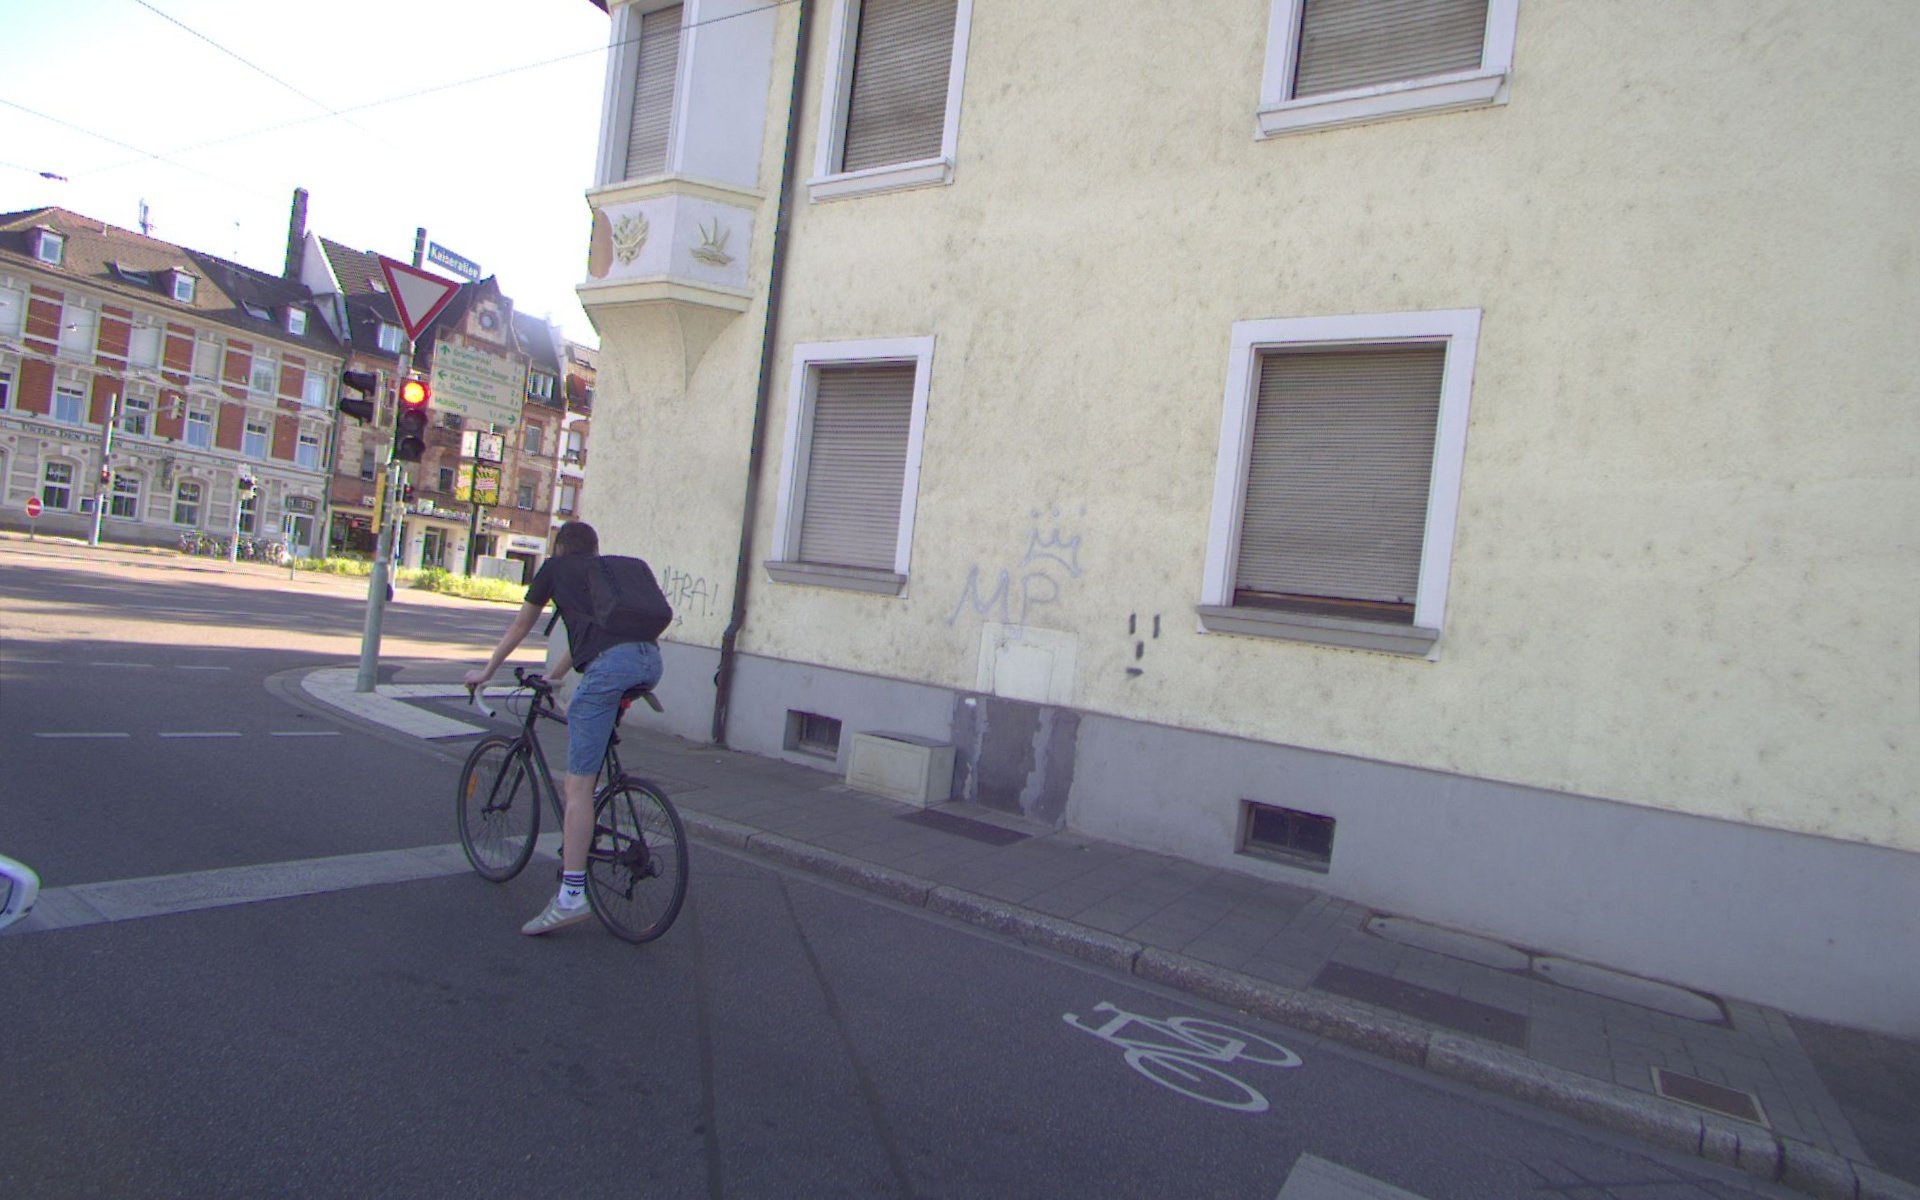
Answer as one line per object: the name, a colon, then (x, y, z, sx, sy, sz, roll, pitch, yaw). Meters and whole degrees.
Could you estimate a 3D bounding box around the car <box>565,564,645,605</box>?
car: (-23.013, -0.998, 65.318, 1.968, 2.038, 4.430, 7, -1, 34)

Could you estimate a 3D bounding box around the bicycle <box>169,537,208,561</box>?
bicycle: (-34.872, -2.298, 45.473, 2.125, 0.850, 0.659, 6, -2, 33)

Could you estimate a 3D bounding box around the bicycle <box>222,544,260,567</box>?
bicycle: (-33.848, -2.088, 47.357, 2.125, 0.850, 0.659, 6, -2, 33)

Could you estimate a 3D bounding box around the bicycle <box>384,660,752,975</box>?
bicycle: (-1.796, 0.874, 4.499, 1.721, 0.982, 0.519, 7, 0, 32)

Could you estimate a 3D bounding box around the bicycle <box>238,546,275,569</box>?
bicycle: (-33.493, -2.020, 47.888, 2.125, 0.850, 0.659, 6, -2, 33)

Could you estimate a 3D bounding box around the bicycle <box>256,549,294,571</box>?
bicycle: (-33.105, -1.941, 48.592, 2.125, 0.850, 0.659, 6, -2, 33)

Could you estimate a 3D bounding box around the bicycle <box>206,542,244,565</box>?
bicycle: (-34.183, -2.156, 46.761, 2.125, 0.850, 0.659, 6, -2, 33)

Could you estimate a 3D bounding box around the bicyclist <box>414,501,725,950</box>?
bicyclist: (-1.748, 0.490, 4.478, 1.098, 1.722, 0.573, 7, 0, 32)

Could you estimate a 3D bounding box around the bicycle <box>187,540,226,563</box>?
bicycle: (-34.556, -2.230, 46.140, 2.125, 0.850, 0.659, 6, -2, 33)
